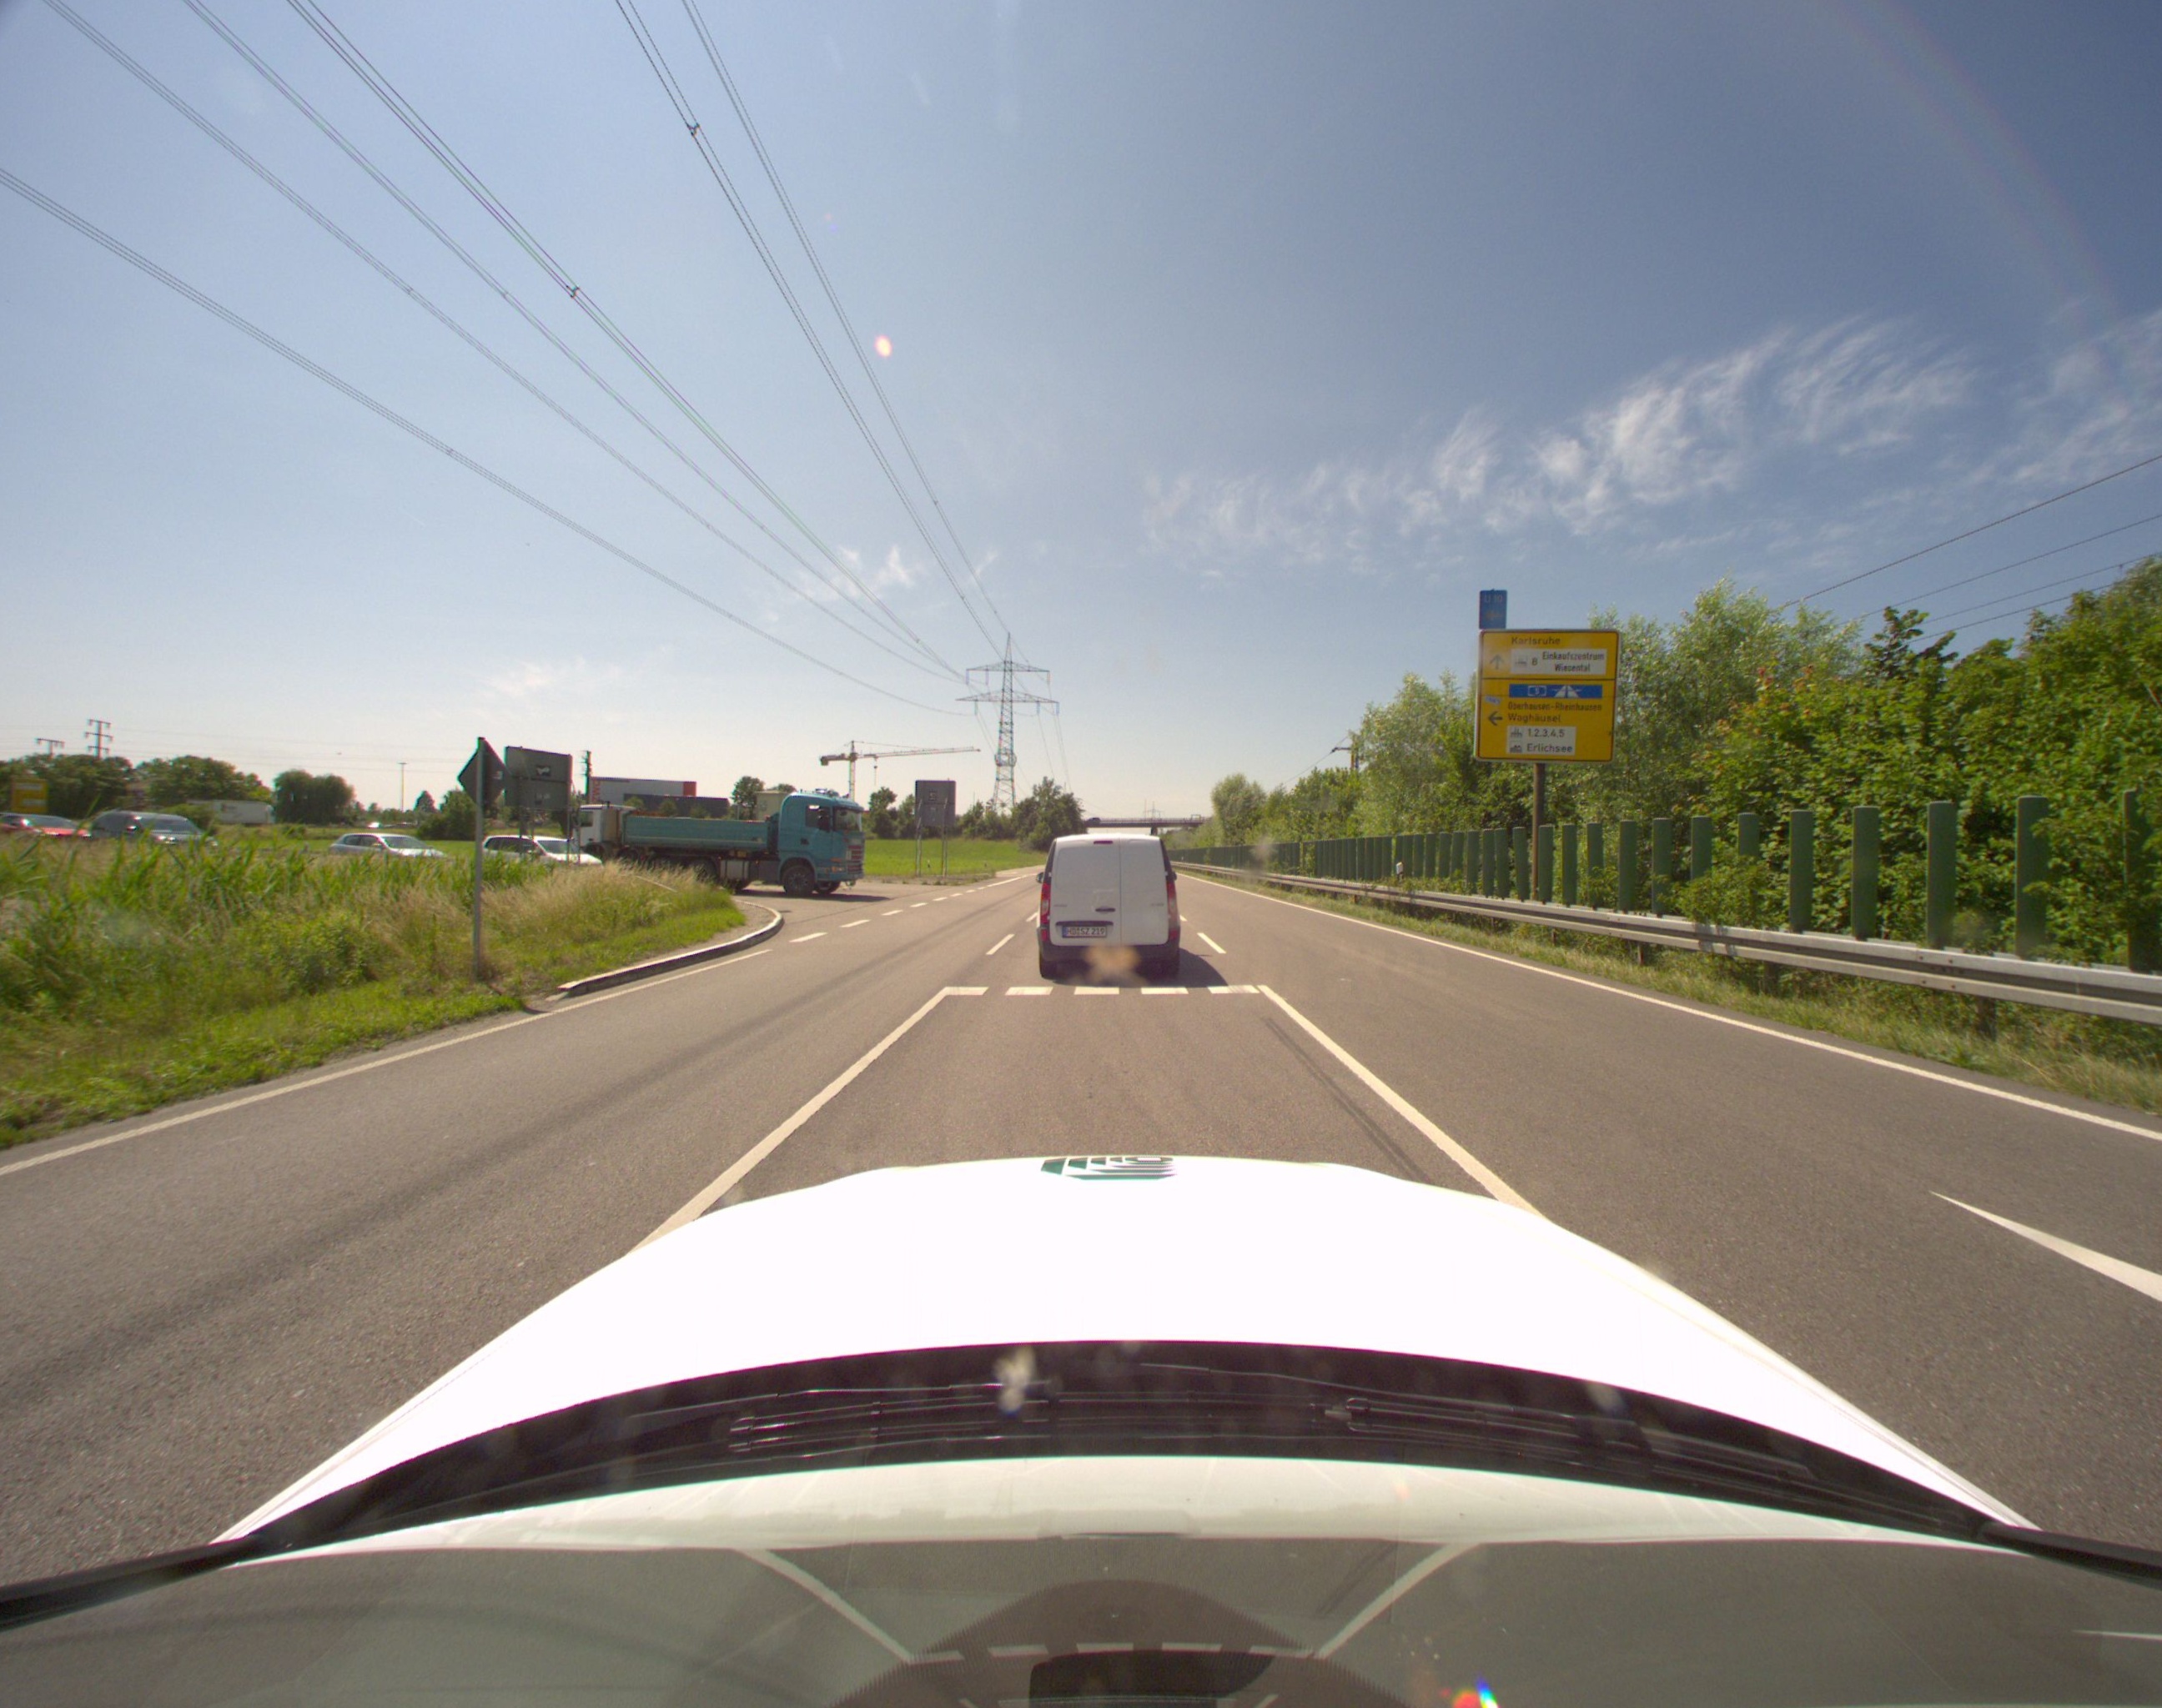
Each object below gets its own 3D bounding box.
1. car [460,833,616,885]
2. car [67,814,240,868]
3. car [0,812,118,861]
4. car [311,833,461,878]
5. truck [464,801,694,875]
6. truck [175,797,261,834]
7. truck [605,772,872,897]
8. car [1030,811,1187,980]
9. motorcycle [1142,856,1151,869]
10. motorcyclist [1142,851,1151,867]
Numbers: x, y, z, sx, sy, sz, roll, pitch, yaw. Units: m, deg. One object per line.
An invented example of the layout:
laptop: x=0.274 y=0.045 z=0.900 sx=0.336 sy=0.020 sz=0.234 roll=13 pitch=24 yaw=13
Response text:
car: x=-18.677 y=0.151 z=28.051 sx=4.506 sy=1.612 sz=1.976 roll=2 pitch=0 yaw=16
car: x=-35.367 y=-0.530 z=31.103 sx=4.906 sy=1.867 sz=2.094 roll=2 pitch=1 yaw=10
car: x=-41.824 y=-0.729 z=32.848 sx=4.438 sy=1.849 sz=1.922 roll=2 pitch=0 yaw=12
car: x=-24.768 y=0.026 z=29.071 sx=4.402 sy=1.470 sz=1.724 roll=1 pitch=0 yaw=12
truck: x=-23.530 y=-0.761 z=38.313 sx=9.612 sy=3.288 sz=2.837 roll=0 pitch=1 yaw=8
truck: x=-121.963 y=-5.328 z=115.451 sx=3.696 sy=4.646 sz=13.130 roll=1 pitch=0 yaw=-25
truck: x=-11.420 y=-0.648 z=27.529 sx=7.869 sy=3.734 sz=2.501 roll=2 pitch=0 yaw=4
car: x=0.382 y=0.484 z=11.540 sx=1.820 sy=1.971 sz=4.001 roll=0 pitch=0 yaw=2
motorcycle: x=6.340 y=0.811 z=78.674 sx=0.787 sy=1.157 sz=1.901 roll=0 pitch=0 yaw=1
motorcyclist: x=6.323 y=0.469 z=78.662 sx=0.886 sy=1.476 sz=1.002 roll=0 pitch=0 yaw=1
